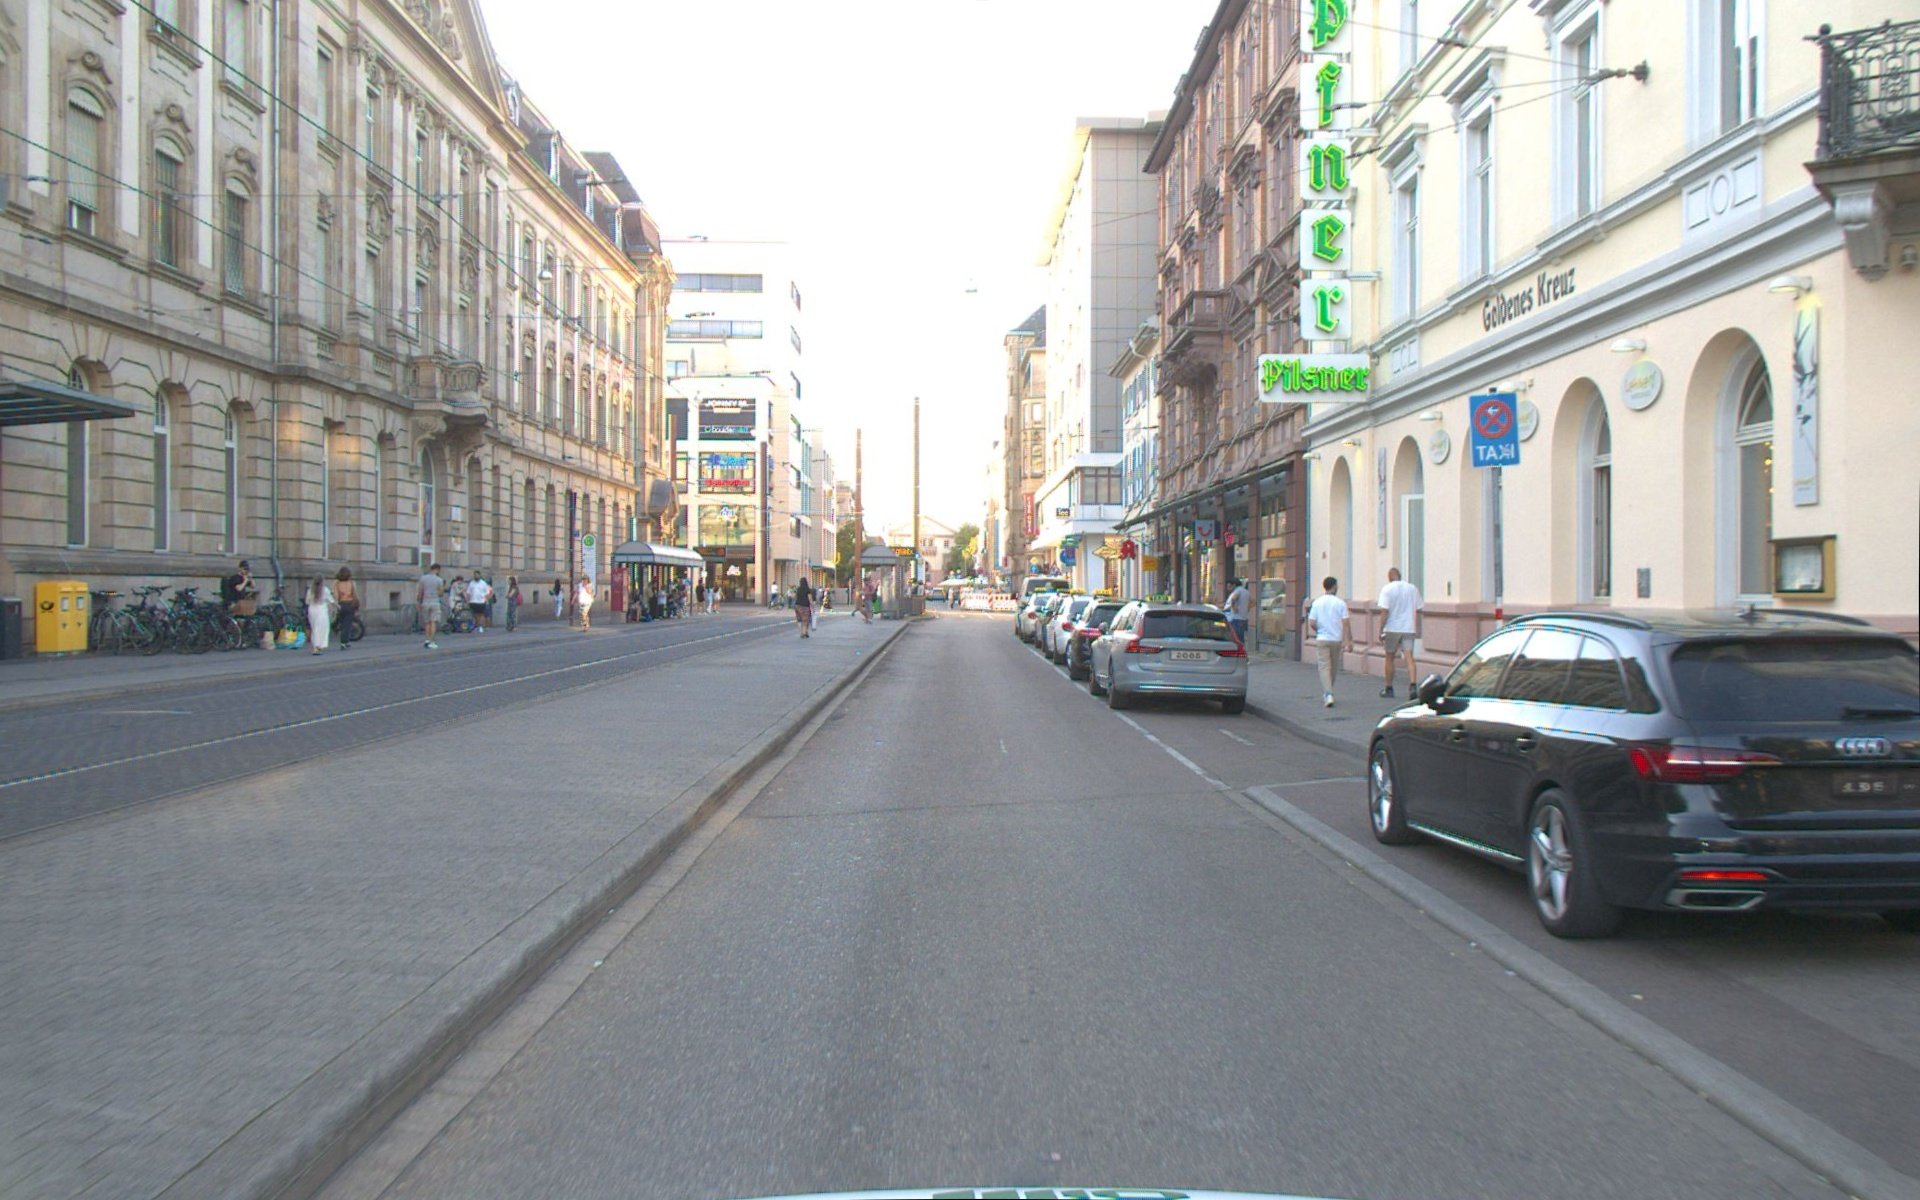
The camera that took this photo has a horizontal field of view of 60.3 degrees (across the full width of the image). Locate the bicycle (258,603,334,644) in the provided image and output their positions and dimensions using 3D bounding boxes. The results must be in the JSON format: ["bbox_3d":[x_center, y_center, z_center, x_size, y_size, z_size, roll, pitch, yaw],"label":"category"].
[{"bbox_3d":[-15.209,0.542,37.904,1.542,0.889,0.451,1,0,4],"label":"bicycle"}]

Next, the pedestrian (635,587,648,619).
[{"bbox_3d":[-12.238,0.124,63.543,0.357,1.221,0.430,1,0,5],"label":"pedestrian"}]

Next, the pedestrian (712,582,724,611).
[{"bbox_3d":[-13.109,-0.170,89.523,0.518,1.552,0.500,1,0,-20],"label":"pedestrian"}]

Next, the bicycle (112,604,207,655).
[{"bbox_3d":[-14.846,0.542,30.669,1.542,0.889,0.451,1,0,4],"label":"bicycle"}]

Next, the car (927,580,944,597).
[{"bbox_3d":[-3.036,-1.367,202.228,1.953,1.937,3.999,1,0,-1],"label":"car"}]

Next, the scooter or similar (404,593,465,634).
[{"bbox_3d":[-14.425,0.362,45.416,1.514,1.087,0.451,1,0,4],"label":"scooter or similar"}]

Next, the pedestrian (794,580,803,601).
[{"bbox_3d":[-13.291,-0.752,135.873,0.635,1.703,0.530,0,0,7],"label":"pedestrian"}]

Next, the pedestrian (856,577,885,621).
[{"bbox_3d":[-3.371,-0.045,62.363,0.675,1.666,0.857,1,0,40],"label":"pedestrian"}]

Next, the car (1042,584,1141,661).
[{"bbox_3d":[2.867,0.467,36.920,1.697,1.537,4.864,2,0,-1],"label":"car"}]

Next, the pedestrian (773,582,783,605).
[{"bbox_3d":[-15.226,-0.539,138.120,0.560,1.887,0.817,1,0,11],"label":"pedestrian"}]

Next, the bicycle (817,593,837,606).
[{"bbox_3d":[-11.679,-0.055,144.888,1.661,1.141,0.451,1,0,1],"label":"bicycle"}]

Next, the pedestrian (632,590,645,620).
[{"bbox_3d":[-12.187,0.194,62.698,0.357,1.122,0.430,1,0,5],"label":"pedestrian"}]

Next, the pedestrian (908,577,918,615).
[{"bbox_3d":[-2.252,-0.189,78.920,0.404,1.798,0.594,1,0,-3],"label":"pedestrian"}]

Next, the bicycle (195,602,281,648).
[{"bbox_3d":[-14.671,0.500,33.637,1.542,0.889,0.451,1,0,4],"label":"bicycle"}]

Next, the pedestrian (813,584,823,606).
[{"bbox_3d":[-11.441,-0.384,133.268,0.766,1.782,0.600,1,0,-4],"label":"pedestrian"}]

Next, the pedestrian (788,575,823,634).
[{"bbox_3d":[-4.065,0.122,43.575,0.829,1.527,0.901,0,0,-1],"label":"pedestrian"}]

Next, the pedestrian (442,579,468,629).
[{"bbox_3d":[-14.922,0.132,48.848,0.432,1.465,0.570,1,-1,36],"label":"pedestrian"}]

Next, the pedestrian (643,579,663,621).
[{"bbox_3d":[-12.370,-0.002,66.631,0.507,1.679,0.638,0,-1,21],"label":"pedestrian"}]

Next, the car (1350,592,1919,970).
[{"bbox_3d":[3.436,0.691,8.590,1.662,1.414,4.546,-1,0,-1],"label":"car"}]

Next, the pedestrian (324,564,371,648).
[{"bbox_3d":[-12.891,0.125,34.837,0.678,1.742,0.815,0,0,-1],"label":"pedestrian"}]

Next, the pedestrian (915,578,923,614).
[{"bbox_3d":[-2.090,-0.183,84.755,0.335,1.827,0.544,1,0,-3],"label":"pedestrian"}]

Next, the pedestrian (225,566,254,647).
[{"bbox_3d":[-14.911,0.128,34.232,0.357,1.662,0.430,1,0,5],"label":"pedestrian"}]

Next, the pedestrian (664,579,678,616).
[{"bbox_3d":[-13.195,-0.099,75.548,0.507,1.674,0.638,0,-1,3],"label":"pedestrian"}]

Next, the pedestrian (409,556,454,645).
[{"bbox_3d":[-11.154,0.002,34.896,0.678,1.844,0.814,0,0,-1],"label":"pedestrian"}]

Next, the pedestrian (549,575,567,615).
[{"bbox_3d":[-15.994,-0.206,65.774,0.648,1.589,0.677,0,0,-15],"label":"pedestrian"}]

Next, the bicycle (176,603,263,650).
[{"bbox_3d":[-14.771,0.523,32.999,1.542,0.889,0.451,1,0,4],"label":"bicycle"}]

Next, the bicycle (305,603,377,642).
[{"bbox_3d":[-14.893,0.545,39.781,1.542,0.889,0.451,1,0,4],"label":"bicycle"}]

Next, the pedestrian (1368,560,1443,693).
[{"bbox_3d":[6.006,0.352,22.305,0.744,1.718,0.551,-4,0,-1],"label":"pedestrian"}]

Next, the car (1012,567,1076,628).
[{"bbox_3d":[2.860,-0.070,57.099,1.839,1.957,4.699,2,0,-1],"label":"car"}]

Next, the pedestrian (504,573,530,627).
[{"bbox_3d":[-13.354,0.002,49.856,0.559,1.633,0.440,1,-1,25],"label":"pedestrian"}]

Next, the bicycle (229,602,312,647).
[{"bbox_3d":[-14.341,0.501,34.404,1.542,0.889,0.451,1,0,4],"label":"bicycle"}]

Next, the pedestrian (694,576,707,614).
[{"bbox_3d":[-12.433,-0.242,79.318,0.548,1.807,0.468,1,0,-5],"label":"pedestrian"}]

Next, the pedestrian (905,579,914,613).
[{"bbox_3d":[-2.507,-0.201,81.927,0.378,1.670,0.549,1,0,-3],"label":"pedestrian"}]

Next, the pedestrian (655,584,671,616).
[{"bbox_3d":[-12.378,0.003,69.016,0.507,1.350,0.638,0,-1,3],"label":"pedestrian"}]

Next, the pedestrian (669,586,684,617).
[{"bbox_3d":[-12.271,0.077,71.628,0.507,1.350,0.638,0,-1,3],"label":"pedestrian"}]

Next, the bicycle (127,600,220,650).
[{"bbox_3d":[-14.882,0.467,31.316,1.542,0.889,0.451,1,0,4],"label":"bicycle"}]

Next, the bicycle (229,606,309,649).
[{"bbox_3d":[-15.153,0.605,36.281,1.542,0.889,0.451,1,0,4],"label":"bicycle"}]

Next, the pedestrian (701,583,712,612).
[{"bbox_3d":[-13.650,-0.142,89.051,0.510,1.552,0.499,1,0,-17],"label":"pedestrian"}]

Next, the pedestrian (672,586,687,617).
[{"bbox_3d":[-12.281,0.078,72.396,0.507,1.350,0.638,0,-1,3],"label":"pedestrian"}]

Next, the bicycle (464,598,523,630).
[{"bbox_3d":[-13.366,0.400,47.405,1.542,0.889,0.451,1,0,4],"label":"bicycle"}]

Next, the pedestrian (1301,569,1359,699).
[{"bbox_3d":[5.021,0.456,22.490,0.606,1.718,0.486,-4,0,6],"label":"pedestrian"}]

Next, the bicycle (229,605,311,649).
[{"bbox_3d":[-14.646,0.568,35.137,1.542,0.889,0.451,1,0,4],"label":"bicycle"}]

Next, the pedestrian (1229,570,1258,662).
[{"bbox_3d":[5.629,0.308,32.825,0.365,1.799,0.663,-2,0,-4],"label":"pedestrian"}]

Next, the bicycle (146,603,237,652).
[{"bbox_3d":[-14.827,0.527,31.901,1.542,0.889,0.451,1,0,4],"label":"bicycle"}]

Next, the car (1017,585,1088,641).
[{"bbox_3d":[2.771,0.355,50.325,1.769,1.509,4.777,2,1,-1],"label":"car"}]

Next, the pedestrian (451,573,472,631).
[{"bbox_3d":[-14.419,0.060,47.879,0.328,1.671,0.606,1,0,6],"label":"pedestrian"}]

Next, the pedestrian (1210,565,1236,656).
[{"bbox_3d":[5.303,0.208,33.393,0.365,1.799,0.455,-2,0,-4],"label":"pedestrian"}]

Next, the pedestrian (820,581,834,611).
[{"bbox_3d":[-8.226,-0.225,102.189,0.684,1.847,0.853,1,0,6],"label":"pedestrian"}]

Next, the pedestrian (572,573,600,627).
[{"bbox_3d":[-10.990,0.001,48.619,0.646,1.589,0.680,0,0,-1],"label":"pedestrian"}]

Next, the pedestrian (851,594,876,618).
[{"bbox_3d":[-3.920,0.238,67.396,0.782,0.955,0.693,1,0,22],"label":"pedestrian"}]

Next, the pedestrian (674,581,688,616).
[{"bbox_3d":[-12.863,-0.071,76.319,0.507,1.597,0.638,0,-1,3],"label":"pedestrian"}]

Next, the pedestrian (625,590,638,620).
[{"bbox_3d":[-12.334,0.188,62.110,0.357,1.122,0.430,1,0,5],"label":"pedestrian"}]

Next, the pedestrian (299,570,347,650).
[{"bbox_3d":[-12.080,0.181,31.386,0.678,1.492,0.556,0,0,-1],"label":"pedestrian"}]

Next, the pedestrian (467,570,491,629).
[{"bbox_3d":[-13.969,-0.012,48.037,0.466,1.671,0.563,1,0,5],"label":"pedestrian"}]

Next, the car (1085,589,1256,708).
[{"bbox_3d":[2.924,0.616,23.926,1.769,1.501,4.692,1,0,-1],"label":"car"}]

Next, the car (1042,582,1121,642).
[{"bbox_3d":[3.237,0.309,44.966,1.691,1.503,4.819,1,0,-1],"label":"car"}]

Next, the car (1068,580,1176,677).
[{"bbox_3d":[2.966,0.499,30.968,1.697,1.618,4.443,2,0,2],"label":"car"}]
